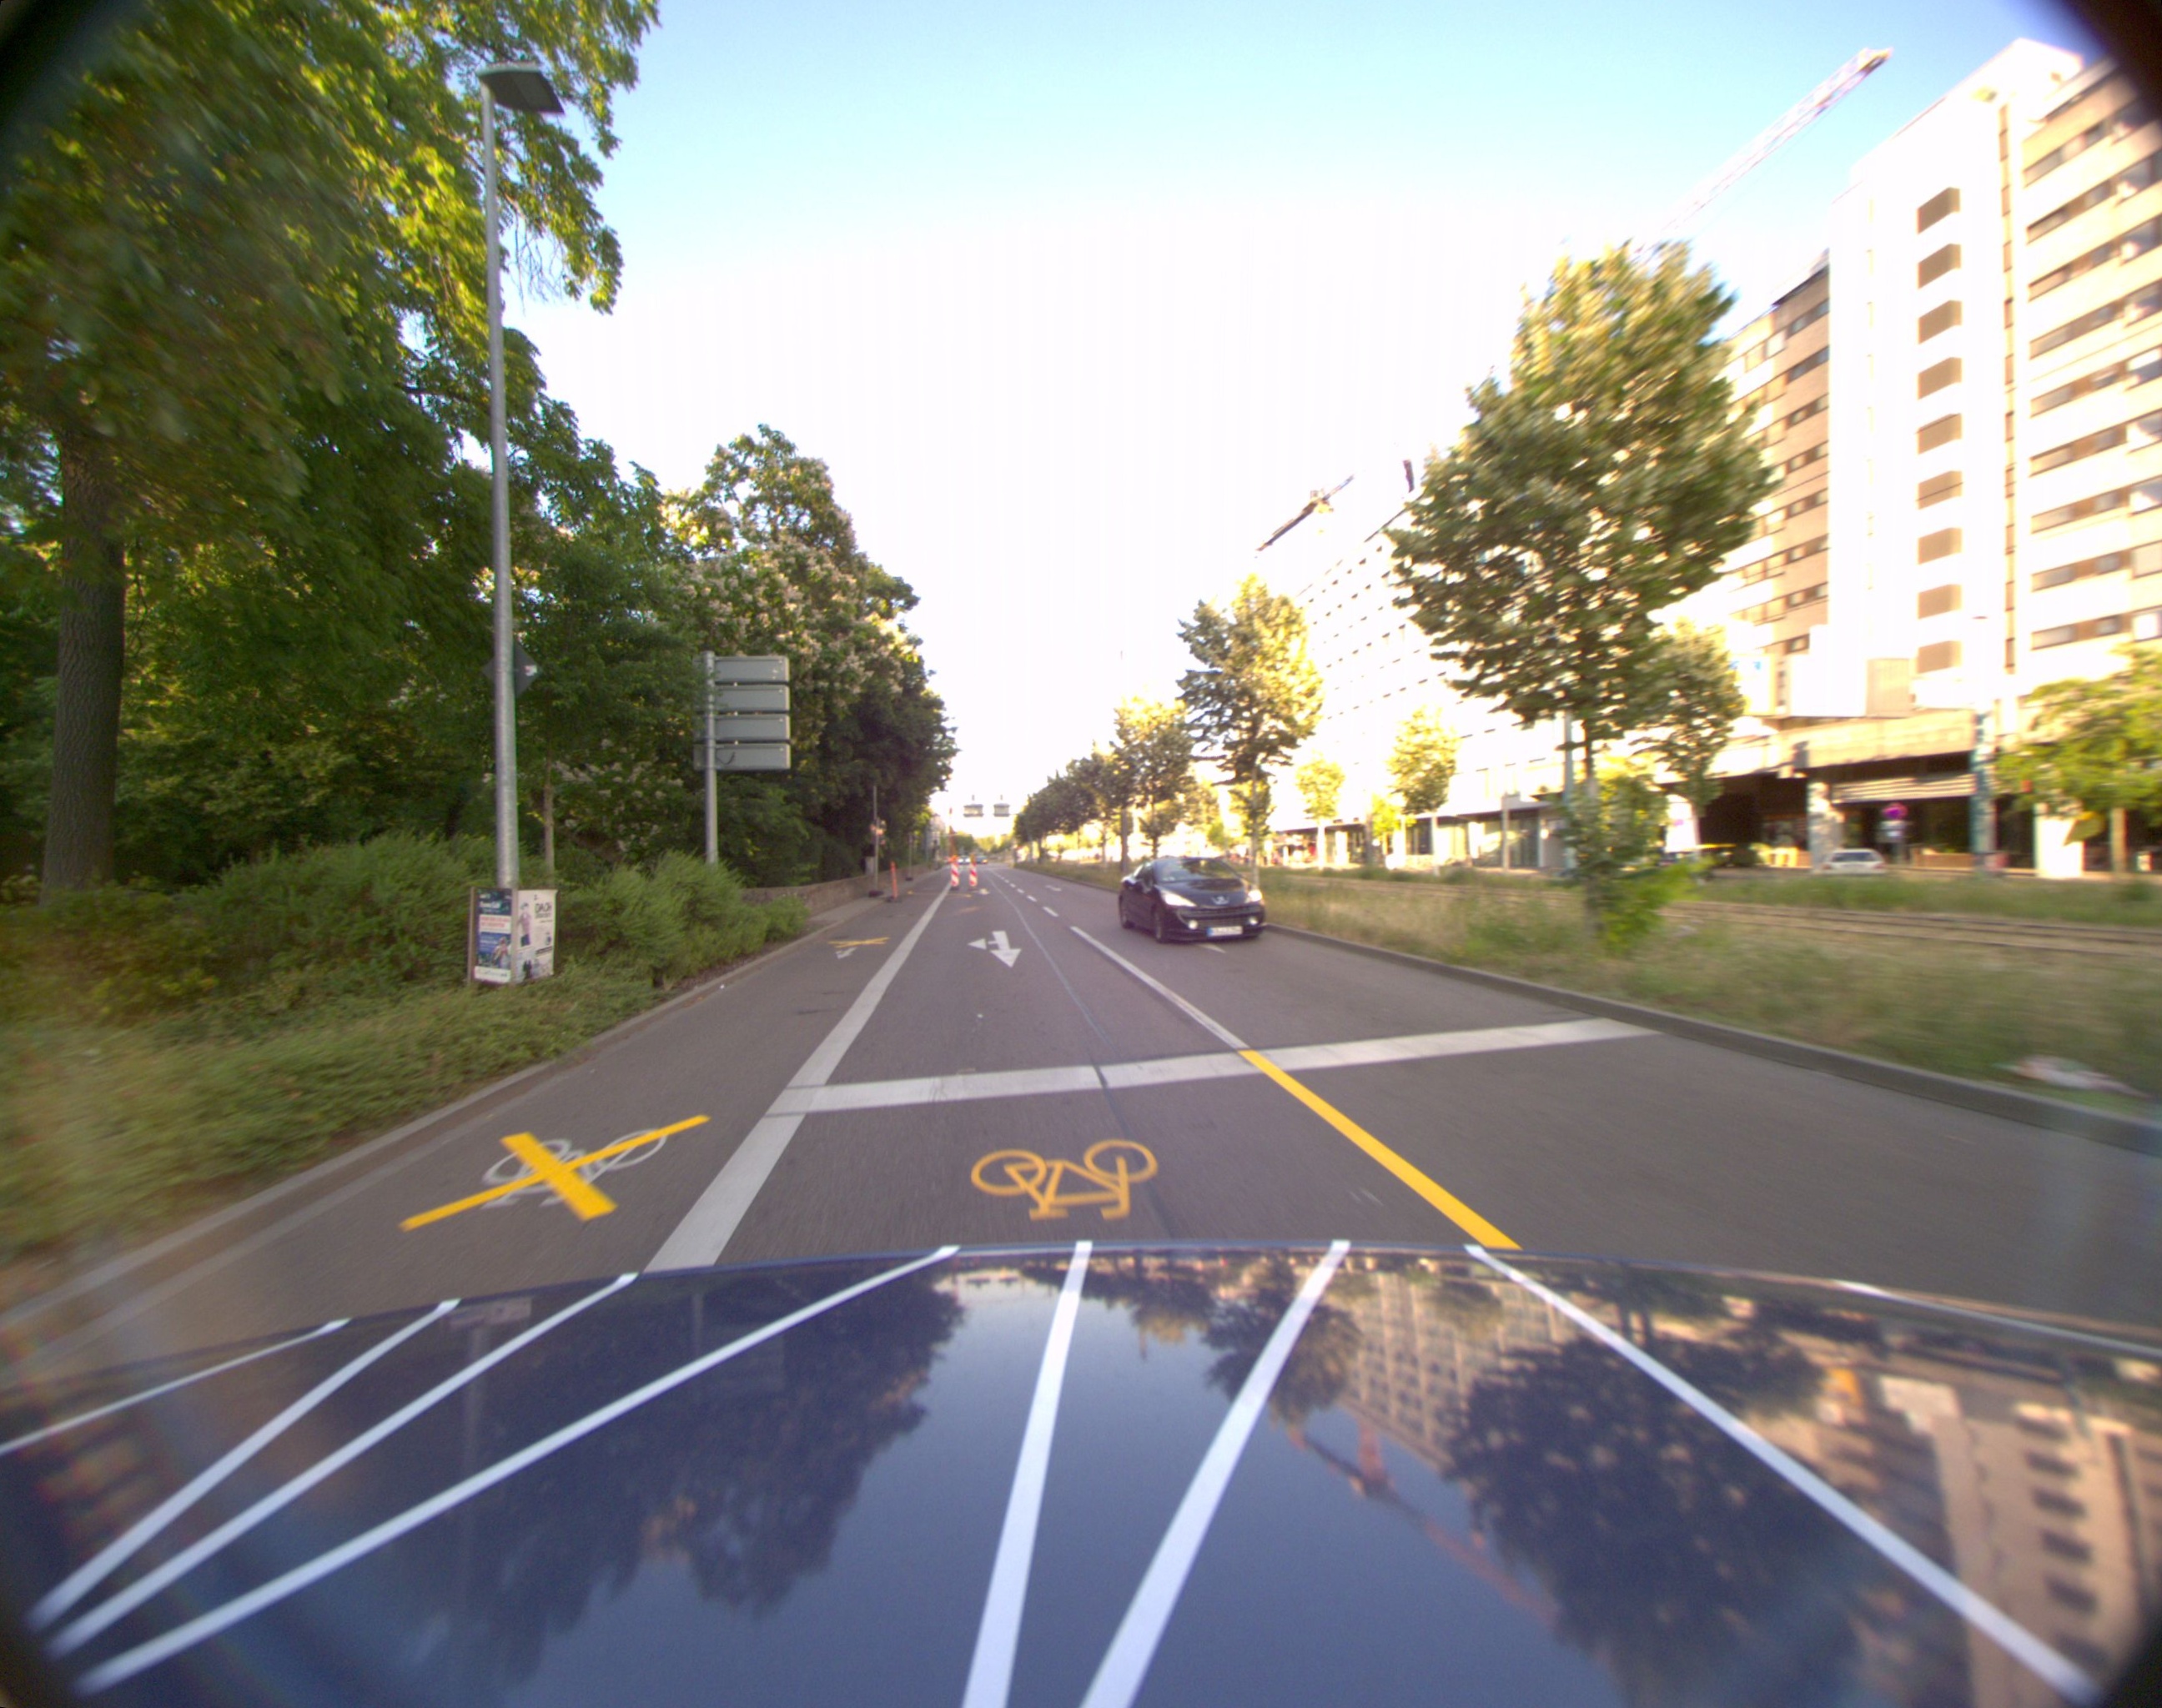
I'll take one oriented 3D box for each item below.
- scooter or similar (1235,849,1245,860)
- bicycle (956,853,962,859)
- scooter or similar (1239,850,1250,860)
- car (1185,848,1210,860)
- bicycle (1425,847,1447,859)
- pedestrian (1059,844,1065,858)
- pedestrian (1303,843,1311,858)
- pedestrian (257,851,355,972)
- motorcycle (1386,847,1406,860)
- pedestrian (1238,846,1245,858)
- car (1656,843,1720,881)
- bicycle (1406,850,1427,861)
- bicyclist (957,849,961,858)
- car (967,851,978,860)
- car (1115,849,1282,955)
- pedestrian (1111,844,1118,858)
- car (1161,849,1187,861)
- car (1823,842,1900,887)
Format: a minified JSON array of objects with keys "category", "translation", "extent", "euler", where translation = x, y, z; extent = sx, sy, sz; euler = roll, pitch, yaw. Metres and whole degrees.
[{"category":"scooter or similar","translation":[19.249,0.063,91.921],"extent":[1.185,1.210,0.338],"euler":[-1,1,-7]},{"category":"bicycle","translation":[-22.433,0.429,139.652],"extent":[0.721,1.045,2.042],"euler":[-3,2,-2]},{"category":"scooter or similar","translation":[19.366,0.114,90.135],"extent":[1.185,1.157,0.338],"euler":[-1,1,-7]},{"category":"car","translation":[14.281,0.018,93.286],"extent":[1.891,1.431,4.220],"euler":[-1,0,-9]},{"category":"bicycle","translation":[30.263,-0.094,64.796],"extent":[1.793,1.014,0.421],"euler":[-1,1,-11]},{"category":"pedestrian","translation":[-2.673,-0.439,105.793],"extent":[0.708,1.825,0.762],"euler":[-3,1,-9]},{"category":"pedestrian","translation":[24.546,-0.334,82.547],"extent":[0.498,1.591,0.603],"euler":[-3,1,-6]},{"category":"pedestrian","translation":[-12.286,0.880,12.078],"extent":[0.795,1.822,0.771],"euler":[-2,1,-21]},{"category":"motorcycle","translation":[29.527,-0.017,71.248],"extent":[1.900,1.165,0.515],"euler":[-2,1,-23]},{"category":"pedestrian","translation":[21.200,-0.239,100.404],"extent":[0.707,1.594,0.682],"euler":[-2,1,35]},{"category":"car","translation":[27.760,0.340,34.692],"extent":[2.003,1.581,4.294],"euler":[0,1,43]},{"category":"bicycle","translation":[29.786,0.136,67.475],"extent":[1.748,1.014,0.421],"euler":[-1,1,-11]},{"category":"bicyclist","translation":[-22.455,-0.118,139.853],"extent":[0.705,1.692,0.767],"euler":[-3,3,-2]},{"category":"car","translation":[-20.370,0.231,142.467],"extent":[1.834,1.588,4.257],"euler":[-2,0,-7]},{"category":"car","translation":[1.840,0.700,13.180],"extent":[1.724,1.441,3.898],"euler":[-4,1,-8]},{"category":"pedestrian","translation":[4.537,-0.408,103.642],"extent":[0.680,1.913,0.708],"euler":[-6,1,-6]},{"category":"car","translation":[11.313,0.146,93.065],"extent":[2.021,1.432,4.797],"euler":[1,0,-8]},{"category":"car","translation":[29.026,0.361,28.352],"extent":[1.820,1.427,4.139],"euler":[-2,1,44]}]
